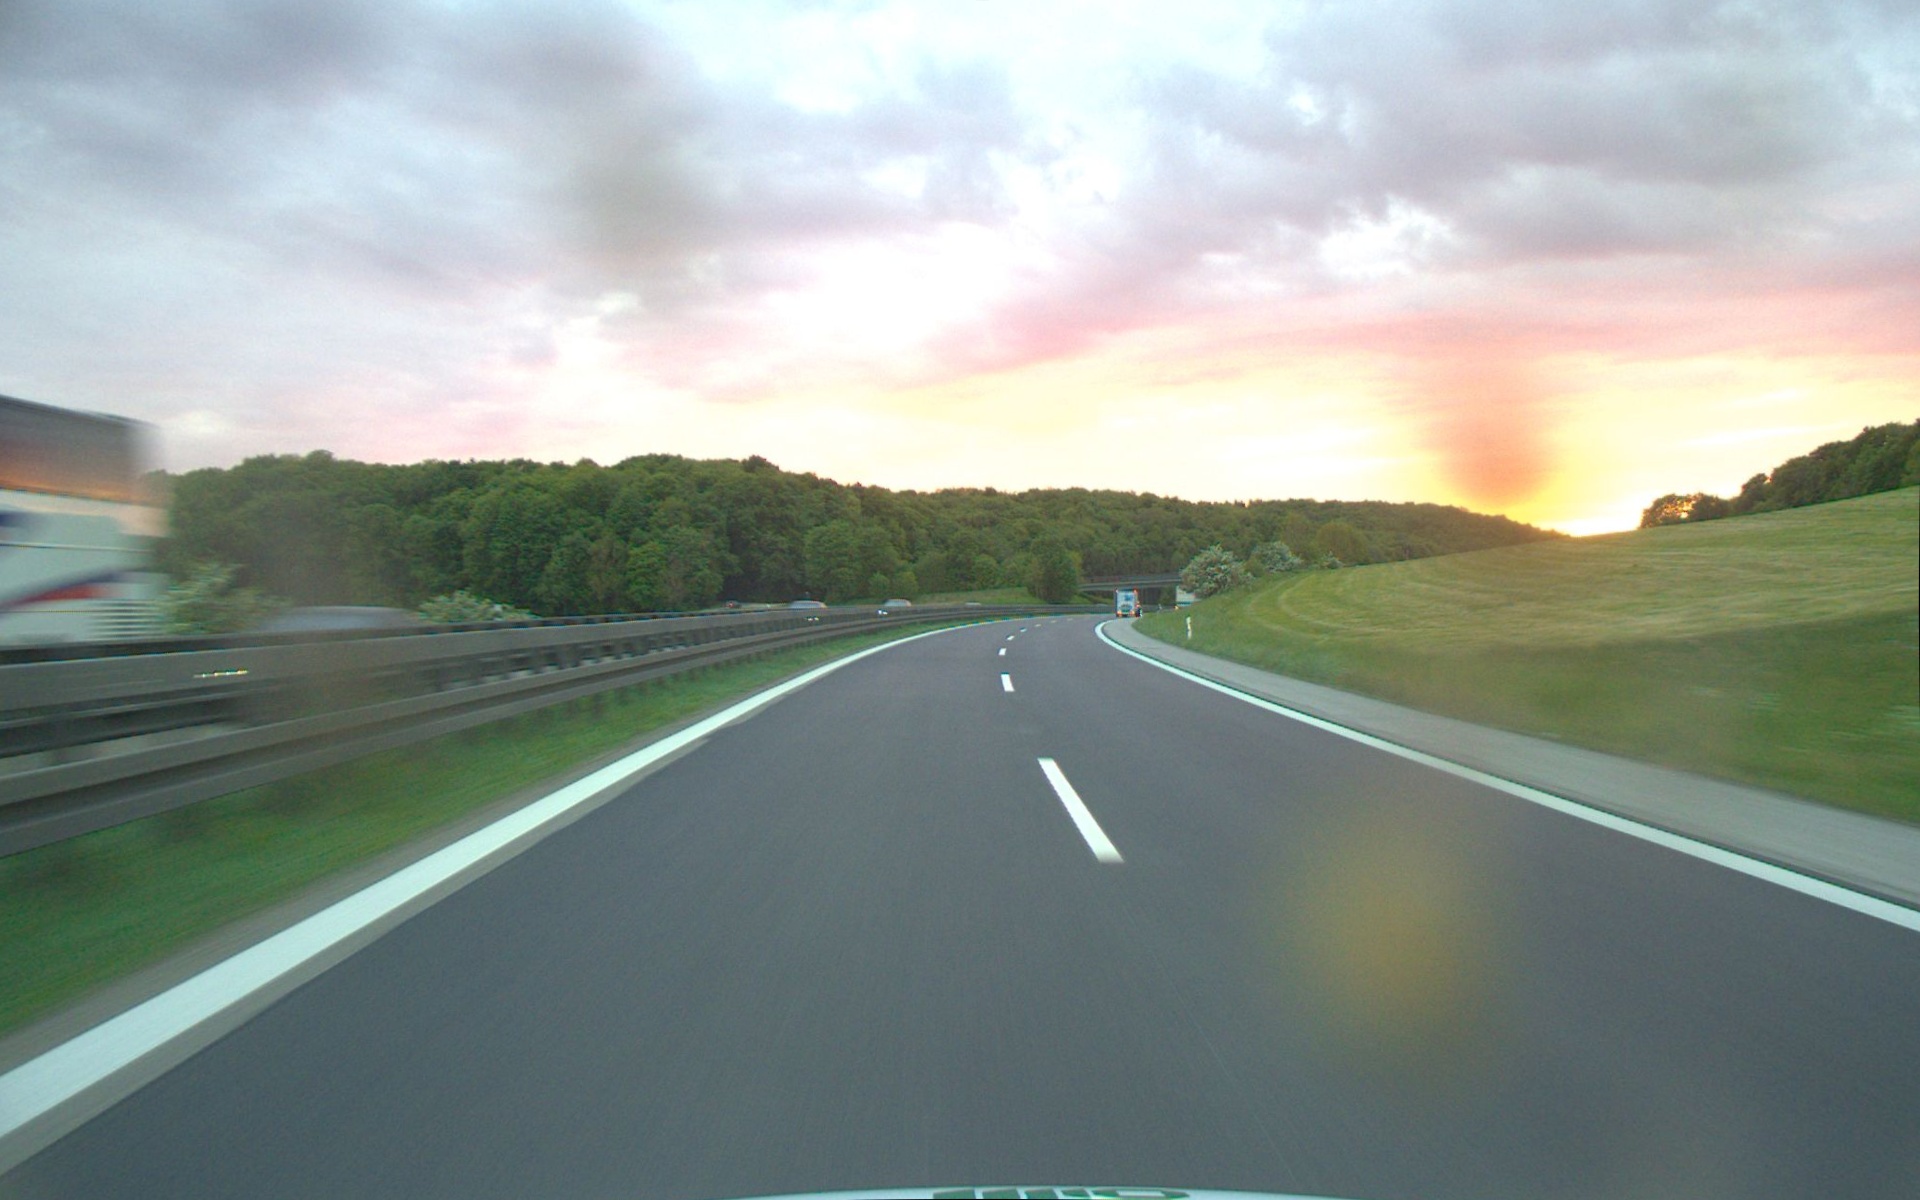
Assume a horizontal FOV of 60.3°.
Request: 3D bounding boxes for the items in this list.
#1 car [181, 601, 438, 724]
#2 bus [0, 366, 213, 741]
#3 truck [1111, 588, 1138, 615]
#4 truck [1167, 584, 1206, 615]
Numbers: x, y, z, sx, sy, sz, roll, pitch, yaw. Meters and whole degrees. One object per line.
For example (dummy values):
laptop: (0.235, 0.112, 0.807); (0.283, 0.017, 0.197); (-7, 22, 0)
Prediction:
car: (-8.840, 0.790, 22.885); (1.813, 1.501, 4.168); (-1, 0, 1)
bus: (-12.179, -0.548, 16.128); (3.101, 4.147, 14.808); (1, 0, 0)
truck: (17.204, 0.185, 172.971); (2.227, 2.711, 5.241); (-2, 0, 11)
truck: (33.296, -0.021, 242.597); (3.874, 4.362, 14.333); (-1, -1, 14)
